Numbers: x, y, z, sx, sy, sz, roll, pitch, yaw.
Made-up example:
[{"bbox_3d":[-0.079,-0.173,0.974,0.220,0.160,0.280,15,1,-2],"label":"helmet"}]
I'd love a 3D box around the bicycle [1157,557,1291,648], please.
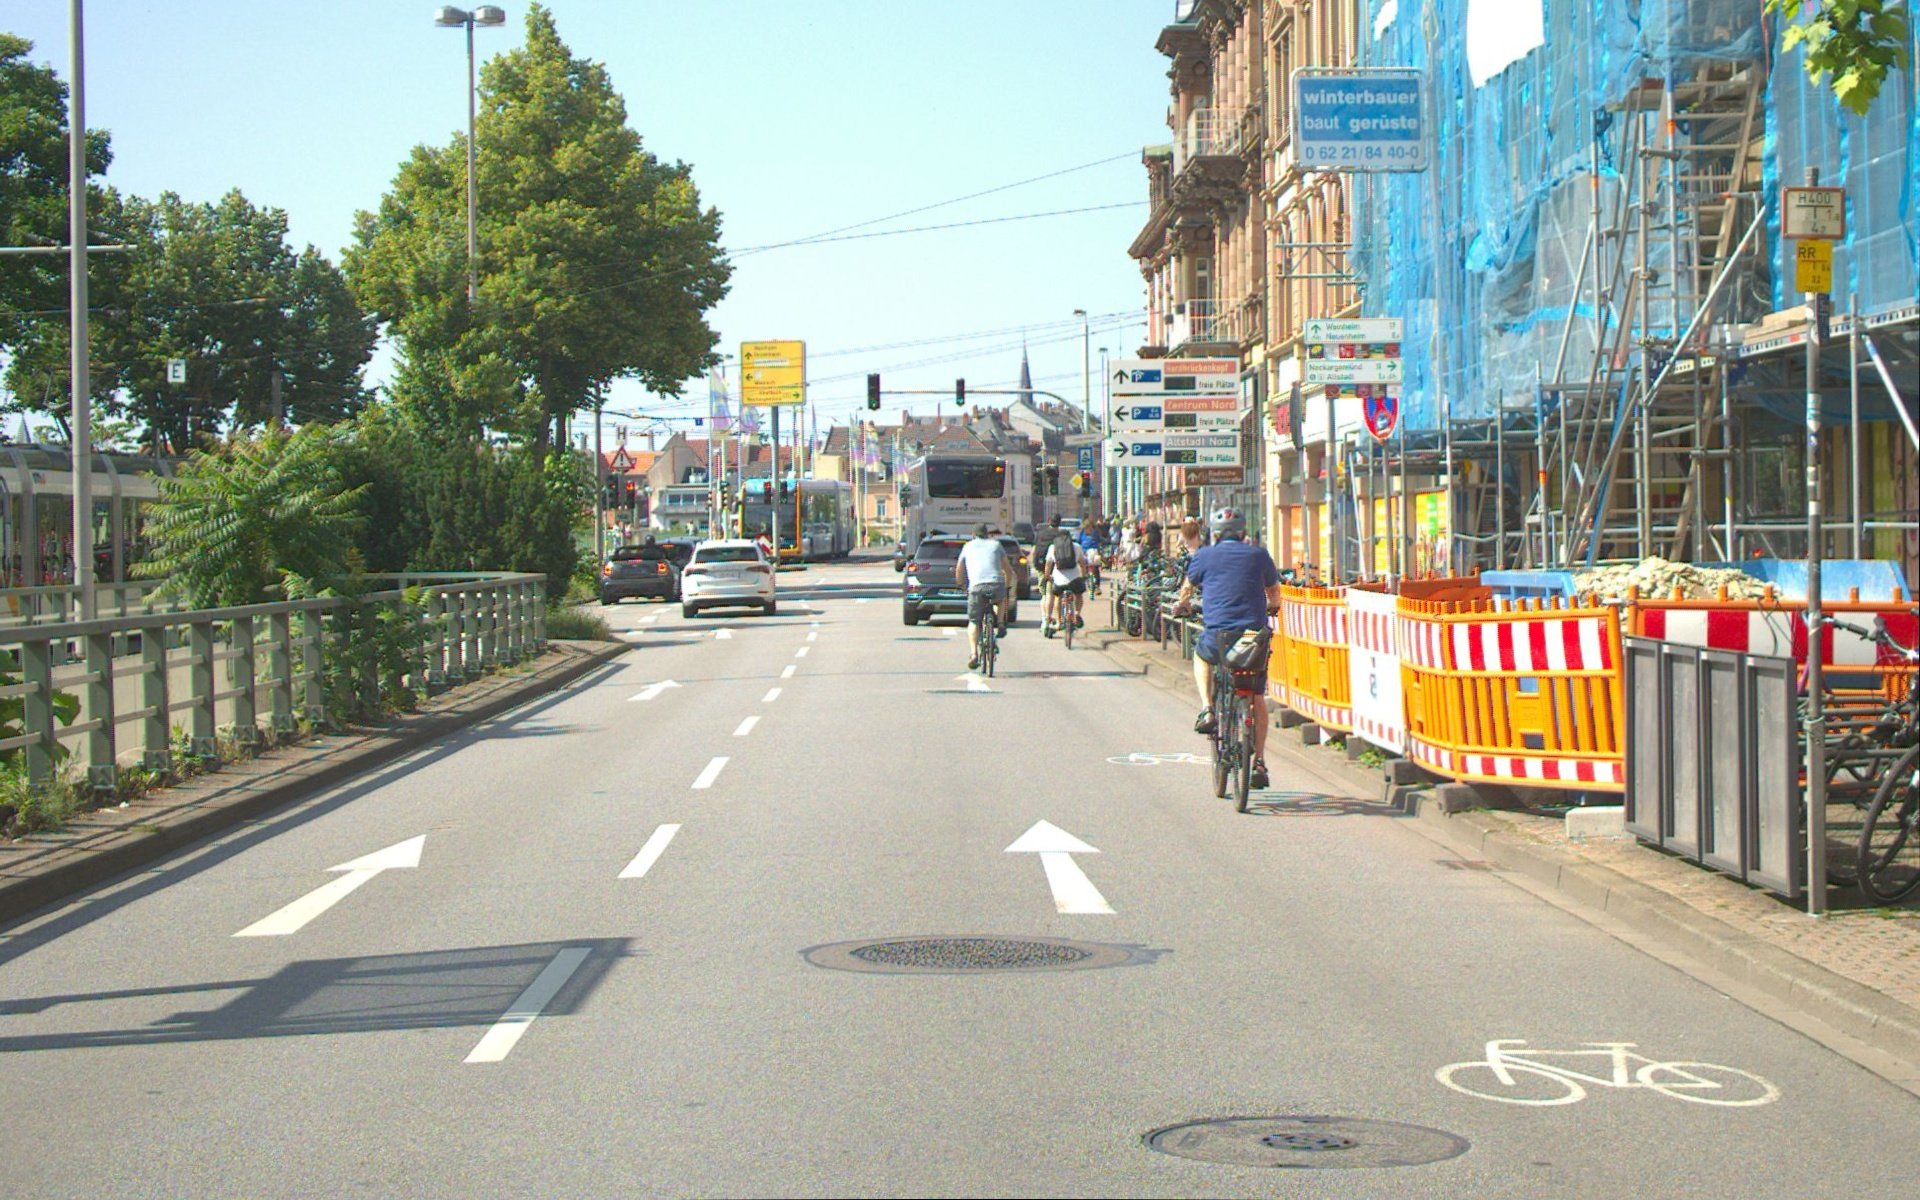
[{"bbox_3d":[3.467,0.027,45.217,1.693,1.174,0.608,1,0,0],"label":"bicycle"}]

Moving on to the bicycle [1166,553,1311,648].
[{"bbox_3d":[3.526,0.004,43.528,1.771,1.174,0.608,1,0,0],"label":"bicycle"}]

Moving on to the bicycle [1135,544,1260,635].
[{"bbox_3d":[3.312,-0.148,48.091,1.693,1.237,0.608,1,0,0],"label":"bicycle"}]

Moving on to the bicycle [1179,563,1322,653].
[{"bbox_3d":[3.569,0.096,42.268,1.693,1.083,0.608,1,0,0],"label":"bicycle"}]

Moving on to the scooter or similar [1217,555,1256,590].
[{"bbox_3d":[5.538,-0.546,68.875,0.691,0.648,0.565,-4,0,-1],"label":"scooter or similar"}]

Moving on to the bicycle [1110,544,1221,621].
[{"bbox_3d":[3.242,-0.281,54.243,1.693,1.174,0.608,-1,1,0],"label":"bicycle"}]

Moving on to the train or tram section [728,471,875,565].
[{"bbox_3d":[-6.440,-3.328,141.726,2.825,3.569,10.024,2,0,16],"label":"train or tram section"}]

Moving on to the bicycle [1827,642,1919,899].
[{"bbox_3d":[4.465,0.683,13.979,1.752,1.014,0.483,0,0,-2],"label":"bicycle"}]

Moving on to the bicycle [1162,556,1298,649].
[{"bbox_3d":[3.485,0.030,44.496,1.693,1.174,0.608,1,0,0],"label":"bicycle"}]

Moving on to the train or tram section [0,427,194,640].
[{"bbox_3d":[-15.545,-1.164,61.264,2.613,3.569,5.357,1,0,-1],"label":"train or tram section"}]

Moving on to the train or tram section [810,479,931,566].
[{"bbox_3d":[-3.855,-3.333,150.482,2.825,3.569,8.219,2,0,16],"label":"train or tram section"}]

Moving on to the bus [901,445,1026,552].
[{"bbox_3d":[0.025,-2.797,96.816,2.968,2.767,8.642,1,0,-3],"label":"bus"}]

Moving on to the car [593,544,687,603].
[{"bbox_3d":[-7.599,-0.639,81.861,1.815,1.328,4.000,2,0,0],"label":"car"}]

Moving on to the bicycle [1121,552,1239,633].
[{"bbox_3d":[3.255,-0.106,50.920,1.693,1.174,0.457,1,0,0],"label":"bicycle"}]

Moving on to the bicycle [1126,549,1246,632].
[{"bbox_3d":[3.266,-0.143,49.810,1.693,1.174,0.451,1,0,0],"label":"bicycle"}]

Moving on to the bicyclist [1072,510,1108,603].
[{"bbox_3d":[2.786,-0.928,73.704,0.688,1.955,0.778,1,0,-1],"label":"bicyclist"}]

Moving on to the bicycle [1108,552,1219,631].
[{"bbox_3d":[3.248,-0.146,54.900,1.693,1.174,0.608,-3,1,0],"label":"bicycle"}]

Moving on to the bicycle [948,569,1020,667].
[{"bbox_3d":[0.268,0.198,40.082,0.734,1.089,1.898,1,0,-2],"label":"bicycle"}]

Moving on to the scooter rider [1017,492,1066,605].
[{"bbox_3d":[1.255,-0.796,53.174,0.688,1.723,0.778,1,0,-1],"label":"scooter rider"}]

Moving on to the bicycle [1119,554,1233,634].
[{"bbox_3d":[3.265,-0.095,52.046,1.693,1.174,0.459,1,0,0],"label":"bicycle"}]

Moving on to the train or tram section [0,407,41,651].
[{"bbox_3d":[-15.319,-1.058,49.417,2.613,3.569,6.104,1,0,-1],"label":"train or tram section"}]

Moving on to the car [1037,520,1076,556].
[{"bbox_3d":[5.186,-3.348,184.978,1.993,1.871,4.000,-1,1,1],"label":"car"}]

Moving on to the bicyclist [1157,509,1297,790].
[{"bbox_3d":[1.577,0.283,20.401,0.688,1.611,0.918,1,0,-2],"label":"bicyclist"}]

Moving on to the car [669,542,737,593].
[{"bbox_3d":[-6.807,-0.866,91.352,1.451,1.296,4.000,2,0,0],"label":"car"}]

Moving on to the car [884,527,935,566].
[{"bbox_3d":[-1.748,-1.863,119.839,1.452,1.296,3.341,2,0,4],"label":"car"}]

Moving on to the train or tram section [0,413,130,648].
[{"bbox_3d":[-15.439,-1.112,55.514,2.613,3.569,6.104,1,0,-1],"label":"train or tram section"}]

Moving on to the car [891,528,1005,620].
[{"bbox_3d":[-0.198,-0.457,59.540,1.873,1.487,4.000,2,0,0],"label":"car"}]

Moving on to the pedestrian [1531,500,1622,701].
[{"bbox_3d":[5.516,0.003,30.784,0.639,1.770,0.649,1,0,-1],"label":"pedestrian"}]

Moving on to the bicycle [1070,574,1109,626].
[{"bbox_3d":[2.778,-0.003,73.774,0.734,1.089,1.898,2,0,0],"label":"bicycle"}]

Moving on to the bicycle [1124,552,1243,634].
[{"bbox_3d":[3.270,-0.107,50.365,1.693,1.174,0.463,1,0,0],"label":"bicycle"}]

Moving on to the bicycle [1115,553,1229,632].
[{"bbox_3d":[3.234,-0.114,52.579,1.693,1.174,0.460,1,0,0],"label":"bicycle"}]

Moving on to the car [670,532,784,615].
[{"bbox_3d":[-4.447,-0.505,66.056,1.858,1.502,4.000,2,0,0],"label":"car"}]

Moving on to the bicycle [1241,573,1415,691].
[{"bbox_3d":[3.760,0.320,35.206,1.693,1.174,0.608,1,0,0],"label":"bicycle"}]

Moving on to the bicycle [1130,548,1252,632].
[{"bbox_3d":[3.306,-0.139,49.268,1.693,1.174,0.491,1,0,0],"label":"bicycle"}]

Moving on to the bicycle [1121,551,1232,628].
[{"bbox_3d":[3.373,-0.171,53.649,1.693,1.174,0.470,1,0,0],"label":"bicycle"}]

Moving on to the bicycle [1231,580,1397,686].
[{"bbox_3d":[3.764,0.347,36.629,1.693,1.094,0.608,1,0,0],"label":"bicycle"}]

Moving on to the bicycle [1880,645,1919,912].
[{"bbox_3d":[4.541,0.686,13.447,1.752,1.014,0.483,0,0,-2],"label":"bicycle"}]

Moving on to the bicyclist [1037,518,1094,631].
[{"bbox_3d":[1.487,-0.361,48.568,0.688,1.571,1.049,1,0,-2],"label":"bicyclist"}]

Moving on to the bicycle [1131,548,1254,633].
[{"bbox_3d":[3.289,-0.136,48.703,1.693,1.174,0.497,1,0,0],"label":"bicycle"}]

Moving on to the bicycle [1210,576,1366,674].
[{"bbox_3d":[3.783,0.281,39.722,1.739,1.105,0.608,1,0,0],"label":"bicycle"}]

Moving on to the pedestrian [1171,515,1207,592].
[{"bbox_3d":[4.861,-0.998,73.023,0.654,1.615,0.815,-1,1,-2],"label":"pedestrian"}]

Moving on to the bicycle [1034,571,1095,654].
[{"bbox_3d":[1.472,0.162,48.641,0.734,1.089,1.898,1,2,-1],"label":"bicycle"}]

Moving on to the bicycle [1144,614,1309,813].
[{"bbox_3d":[1.563,0.648,20.473,0.734,1.089,1.911,1,0,-2],"label":"bicycle"}]

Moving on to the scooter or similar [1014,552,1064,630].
[{"bbox_3d":[1.221,-0.146,53.141,0.688,1.163,1.464,2,0,-1],"label":"scooter or similar"}]

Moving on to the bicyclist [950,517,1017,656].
[{"bbox_3d":[0.270,-0.161,40.032,0.688,1.571,1.049,1,0,-2],"label":"bicyclist"}]

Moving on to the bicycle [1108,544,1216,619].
[{"bbox_3d":[3.256,-0.307,55.529,1.693,1.174,0.608,-1,1,0],"label":"bicycle"}]

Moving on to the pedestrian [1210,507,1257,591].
[{"bbox_3d":[5.532,-1.026,69.457,0.755,1.650,0.837,-4,0,-2],"label":"pedestrian"}]

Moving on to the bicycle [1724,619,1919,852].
[{"bbox_3d":[4.350,0.597,15.391,1.752,1.014,0.483,0,0,-2],"label":"bicycle"}]
